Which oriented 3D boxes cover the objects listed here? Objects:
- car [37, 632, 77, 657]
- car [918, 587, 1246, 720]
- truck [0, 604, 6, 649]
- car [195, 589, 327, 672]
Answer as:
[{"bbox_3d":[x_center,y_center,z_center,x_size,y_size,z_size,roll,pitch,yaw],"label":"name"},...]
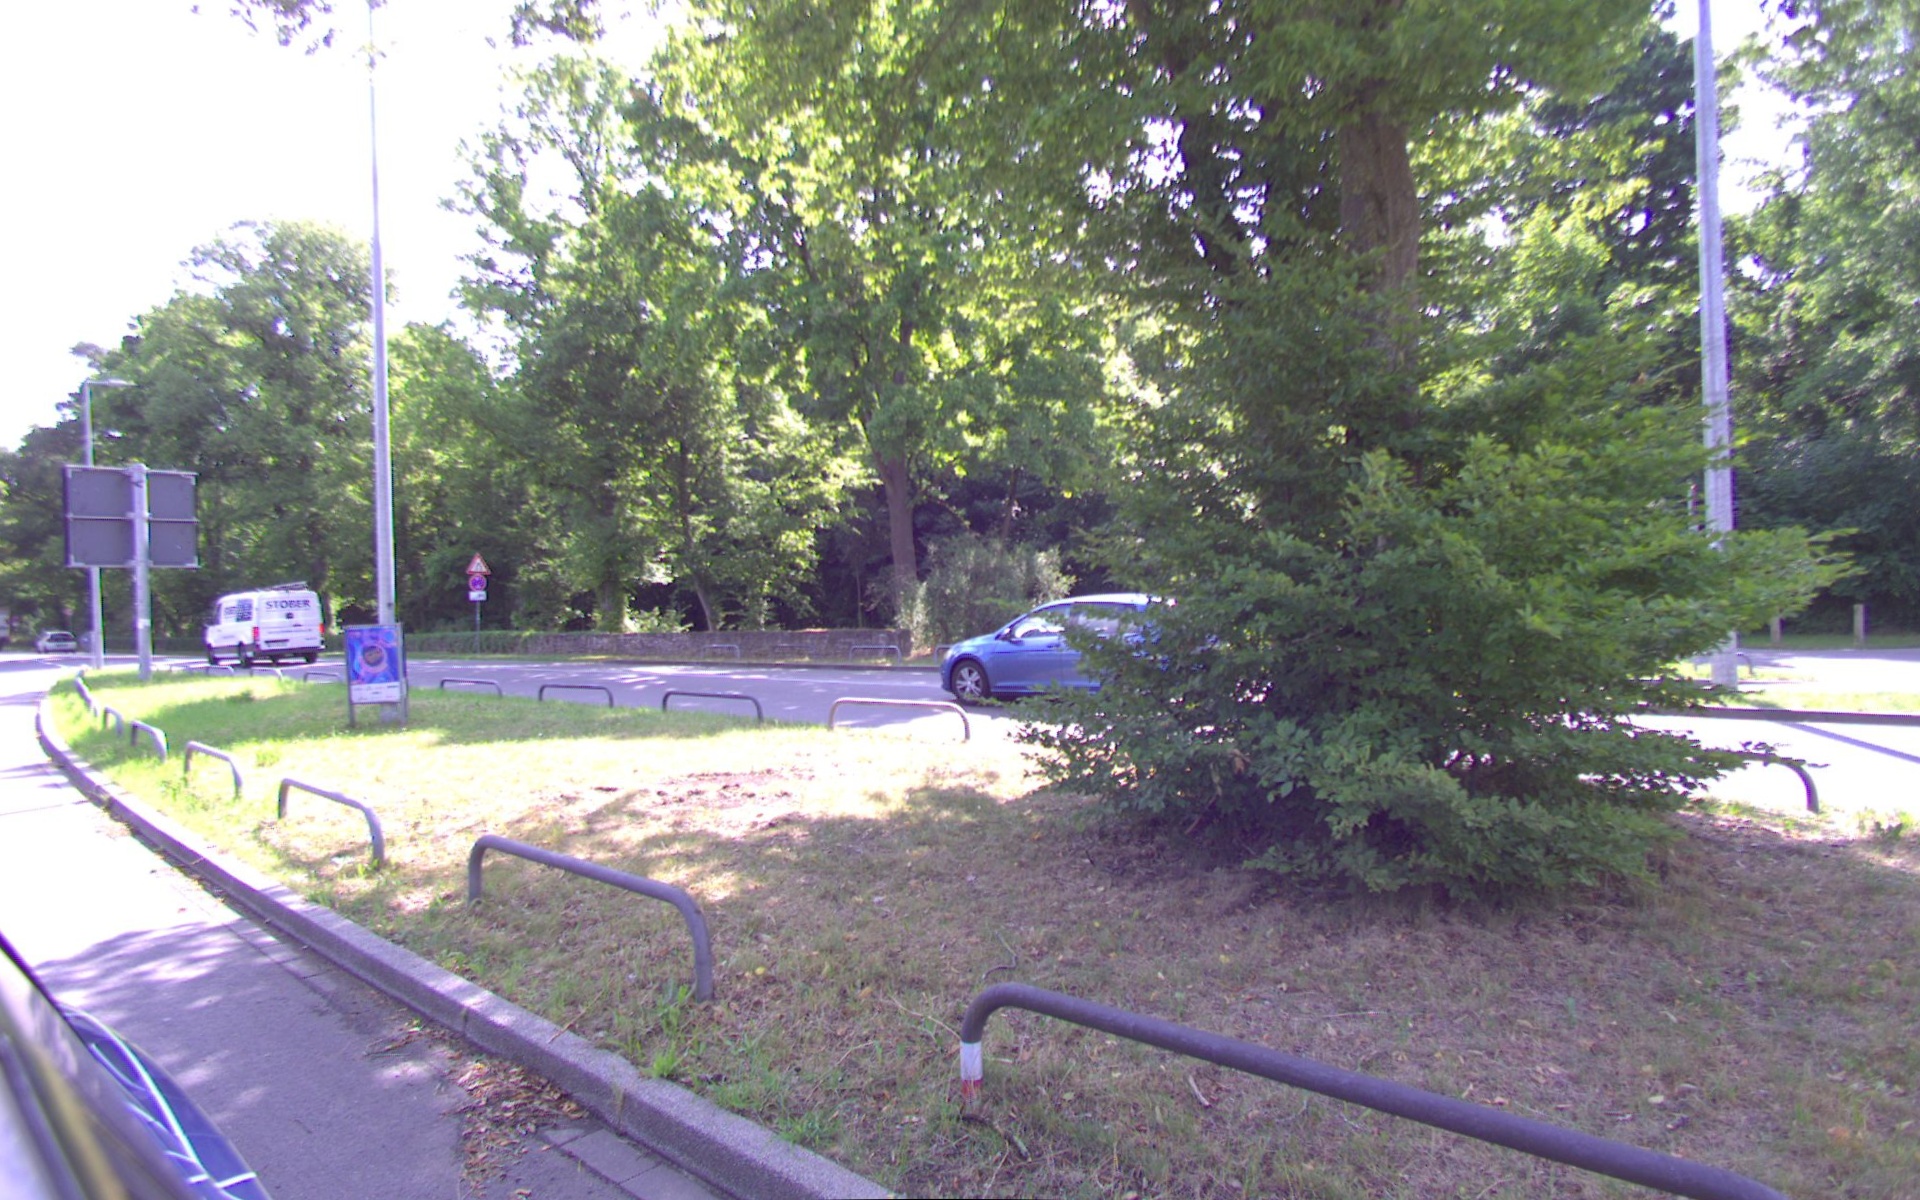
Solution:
[{"bbox_3d":[-59.461,2.921,66.595,3.872,1.481,1.633,-1,0,43],"label":"car"},{"bbox_3d":[1.503,0.618,13.417,4.065,1.457,1.677,-1,2,41],"label":"car"},{"bbox_3d":[-80.399,2.159,82.734,7.002,3.657,2.877,-1,0,41],"label":"truck"},{"bbox_3d":[-22.710,0.941,32.796,5.356,2.449,1.956,-1,1,38],"label":"car"}]
